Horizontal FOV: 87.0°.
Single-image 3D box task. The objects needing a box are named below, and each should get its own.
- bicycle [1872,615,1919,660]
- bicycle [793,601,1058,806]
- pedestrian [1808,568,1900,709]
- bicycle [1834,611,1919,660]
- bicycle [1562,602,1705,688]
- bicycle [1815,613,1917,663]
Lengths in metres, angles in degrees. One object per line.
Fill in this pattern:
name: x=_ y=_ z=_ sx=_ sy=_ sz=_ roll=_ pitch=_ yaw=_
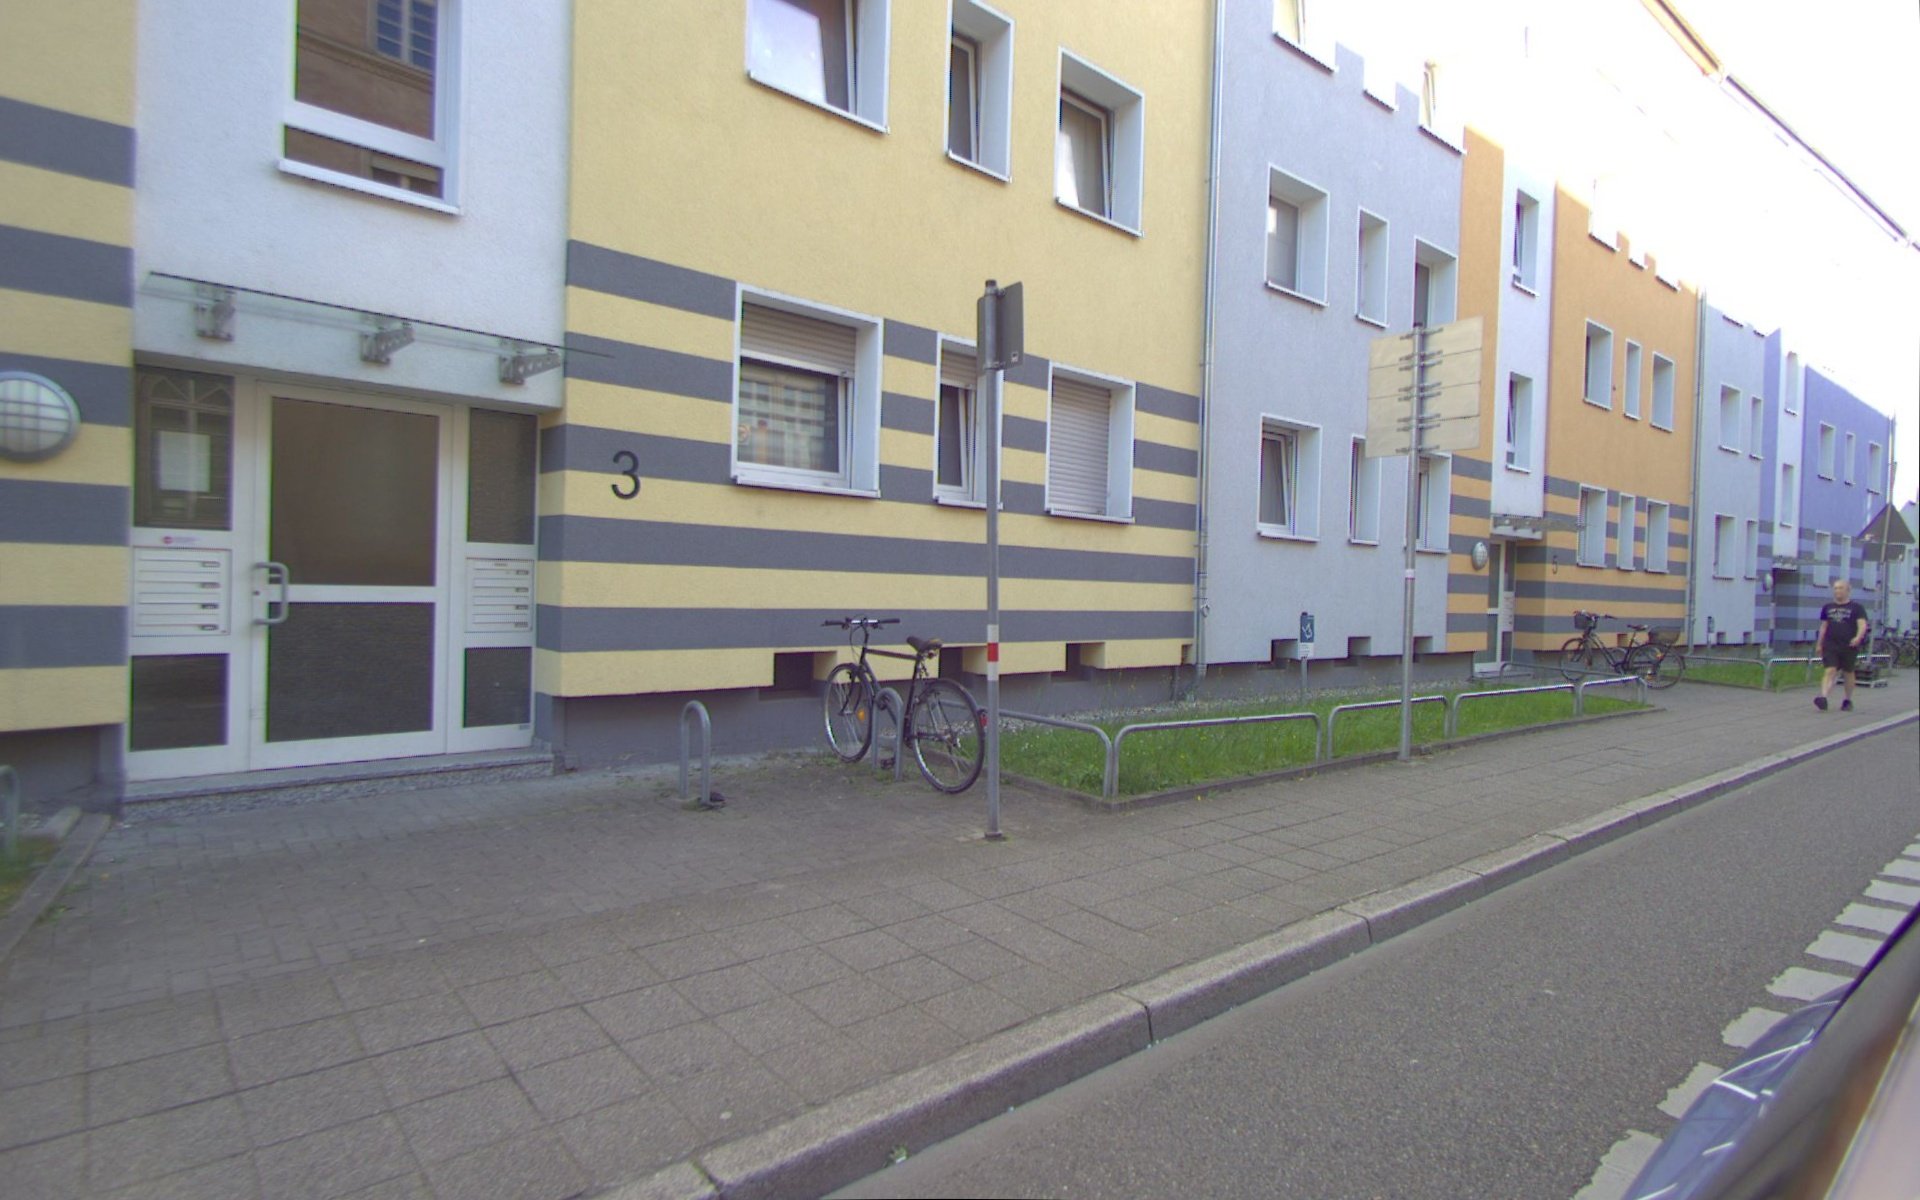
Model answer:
bicycle: x=23.819 y=0.952 z=25.084 sx=0.625 sy=1.048 sz=1.709 roll=1 pitch=2 yaw=-42
bicycle: x=-0.299 y=0.602 z=6.776 sx=0.625 sy=1.074 sz=1.946 roll=1 pitch=2 yaw=-42
pedestrian: x=12.195 y=0.505 z=13.808 sx=0.898 sy=1.810 sz=0.646 roll=1 pitch=4 yaw=-38
bicycle: x=22.850 y=0.868 z=25.064 sx=0.625 sy=1.095 sz=1.710 roll=1 pitch=2 yaw=-40
bicycle: x=10.369 y=0.660 z=15.627 sx=0.625 sy=1.173 sz=1.709 roll=1 pitch=2 yaw=-42
bicycle: x=21.882 y=0.898 z=24.466 sx=0.624 sy=1.058 sz=1.711 roll=1 pitch=2 yaw=-39
